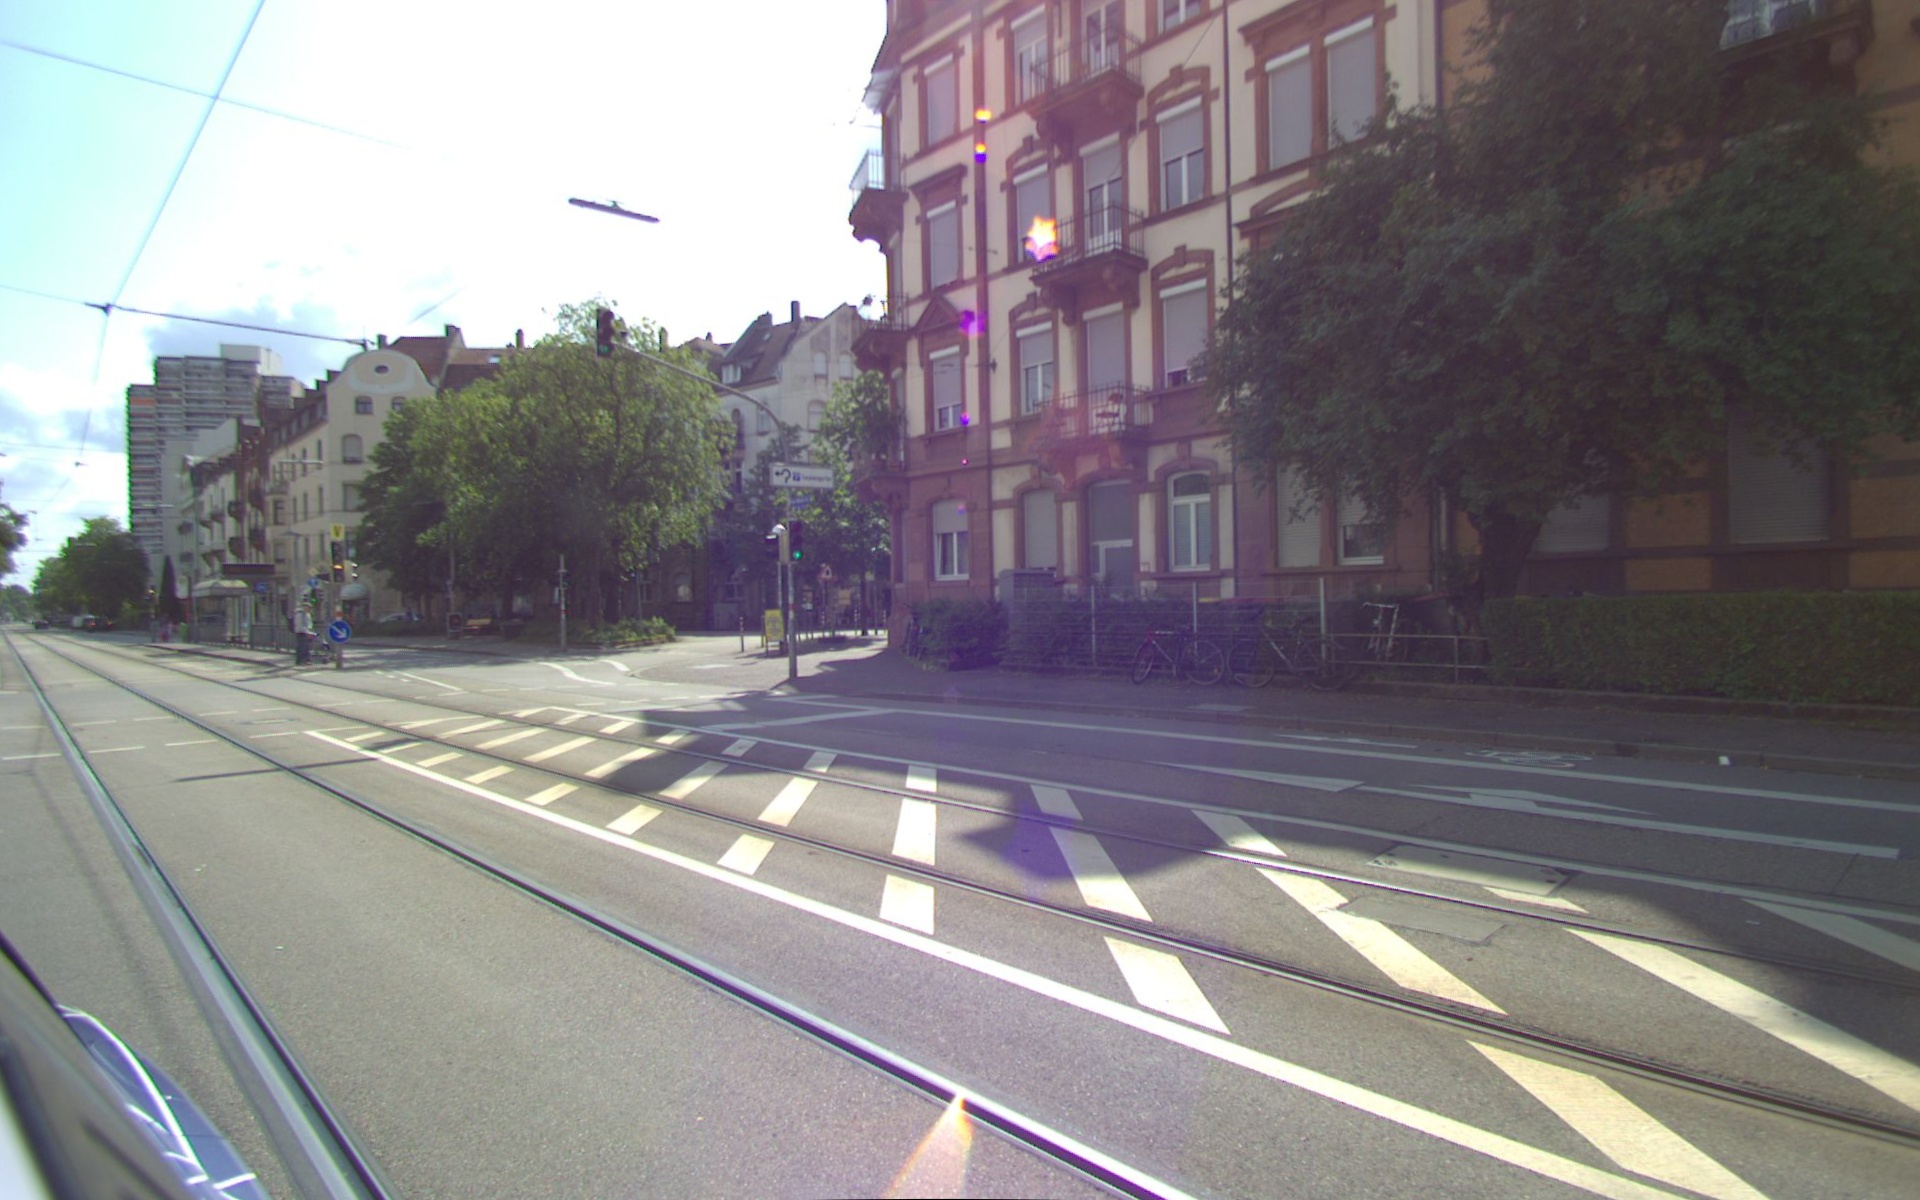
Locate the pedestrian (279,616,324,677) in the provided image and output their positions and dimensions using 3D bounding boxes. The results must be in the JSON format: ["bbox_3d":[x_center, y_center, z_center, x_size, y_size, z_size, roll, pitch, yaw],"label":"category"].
[{"bbox_3d":[-17.818,1.252,27.390,0.691,1.586,0.774,-2,-1,32],"label":"pedestrian"}]

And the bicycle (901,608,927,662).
[{"bbox_3d":[-1.116,0.808,24.324,0.475,1.234,1.957,-2,0,-6],"label":"bicycle"}]

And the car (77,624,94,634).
[{"bbox_3d":[-134.936,4.431,156.109,1.815,1.502,3.895,-1,0,-44],"label":"car"}]

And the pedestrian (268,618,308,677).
[{"bbox_3d":[-18.441,1.303,27.786,0.584,1.586,0.708,-2,-1,32],"label":"pedestrian"}]

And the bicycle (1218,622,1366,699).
[{"bbox_3d":[4.379,0.773,13.459,0.552,0.939,1.828,-1,0,-41],"label":"bicycle"}]

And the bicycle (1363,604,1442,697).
[{"bbox_3d":[5.812,0.639,13.258,0.497,1.139,1.290,-2,0,45],"label":"bicycle"}]

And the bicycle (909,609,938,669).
[{"bbox_3d":[-0.808,0.823,22.107,0.475,1.234,1.957,-2,0,-6],"label":"bicycle"}]

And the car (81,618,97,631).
[{"bbox_3d":[-153.419,4.316,178.279,1.815,2.209,3.895,-1,0,-44],"label":"car"}]

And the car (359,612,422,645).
[{"bbox_3d":[-37.193,1.826,66.176,3.368,1.866,1.618,-4,2,-25],"label":"car"}]

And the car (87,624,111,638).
[{"bbox_3d":[-97.358,3.540,114.393,1.815,1.502,3.895,-1,0,-44],"label":"car"}]

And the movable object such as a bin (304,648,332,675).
[{"bbox_3d":[-17.919,1.708,28.262,0.456,0.723,0.507,-2,-1,32],"label":"movable object such as a bin"}]

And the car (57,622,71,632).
[{"bbox_3d":[-164.824,4.966,186.117,1.815,1.823,3.895,-1,0,-44],"label":"car"}]

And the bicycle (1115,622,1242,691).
[{"bbox_3d":[3.173,0.803,14.849,0.552,0.939,1.828,-1,0,-41],"label":"bicycle"}]
